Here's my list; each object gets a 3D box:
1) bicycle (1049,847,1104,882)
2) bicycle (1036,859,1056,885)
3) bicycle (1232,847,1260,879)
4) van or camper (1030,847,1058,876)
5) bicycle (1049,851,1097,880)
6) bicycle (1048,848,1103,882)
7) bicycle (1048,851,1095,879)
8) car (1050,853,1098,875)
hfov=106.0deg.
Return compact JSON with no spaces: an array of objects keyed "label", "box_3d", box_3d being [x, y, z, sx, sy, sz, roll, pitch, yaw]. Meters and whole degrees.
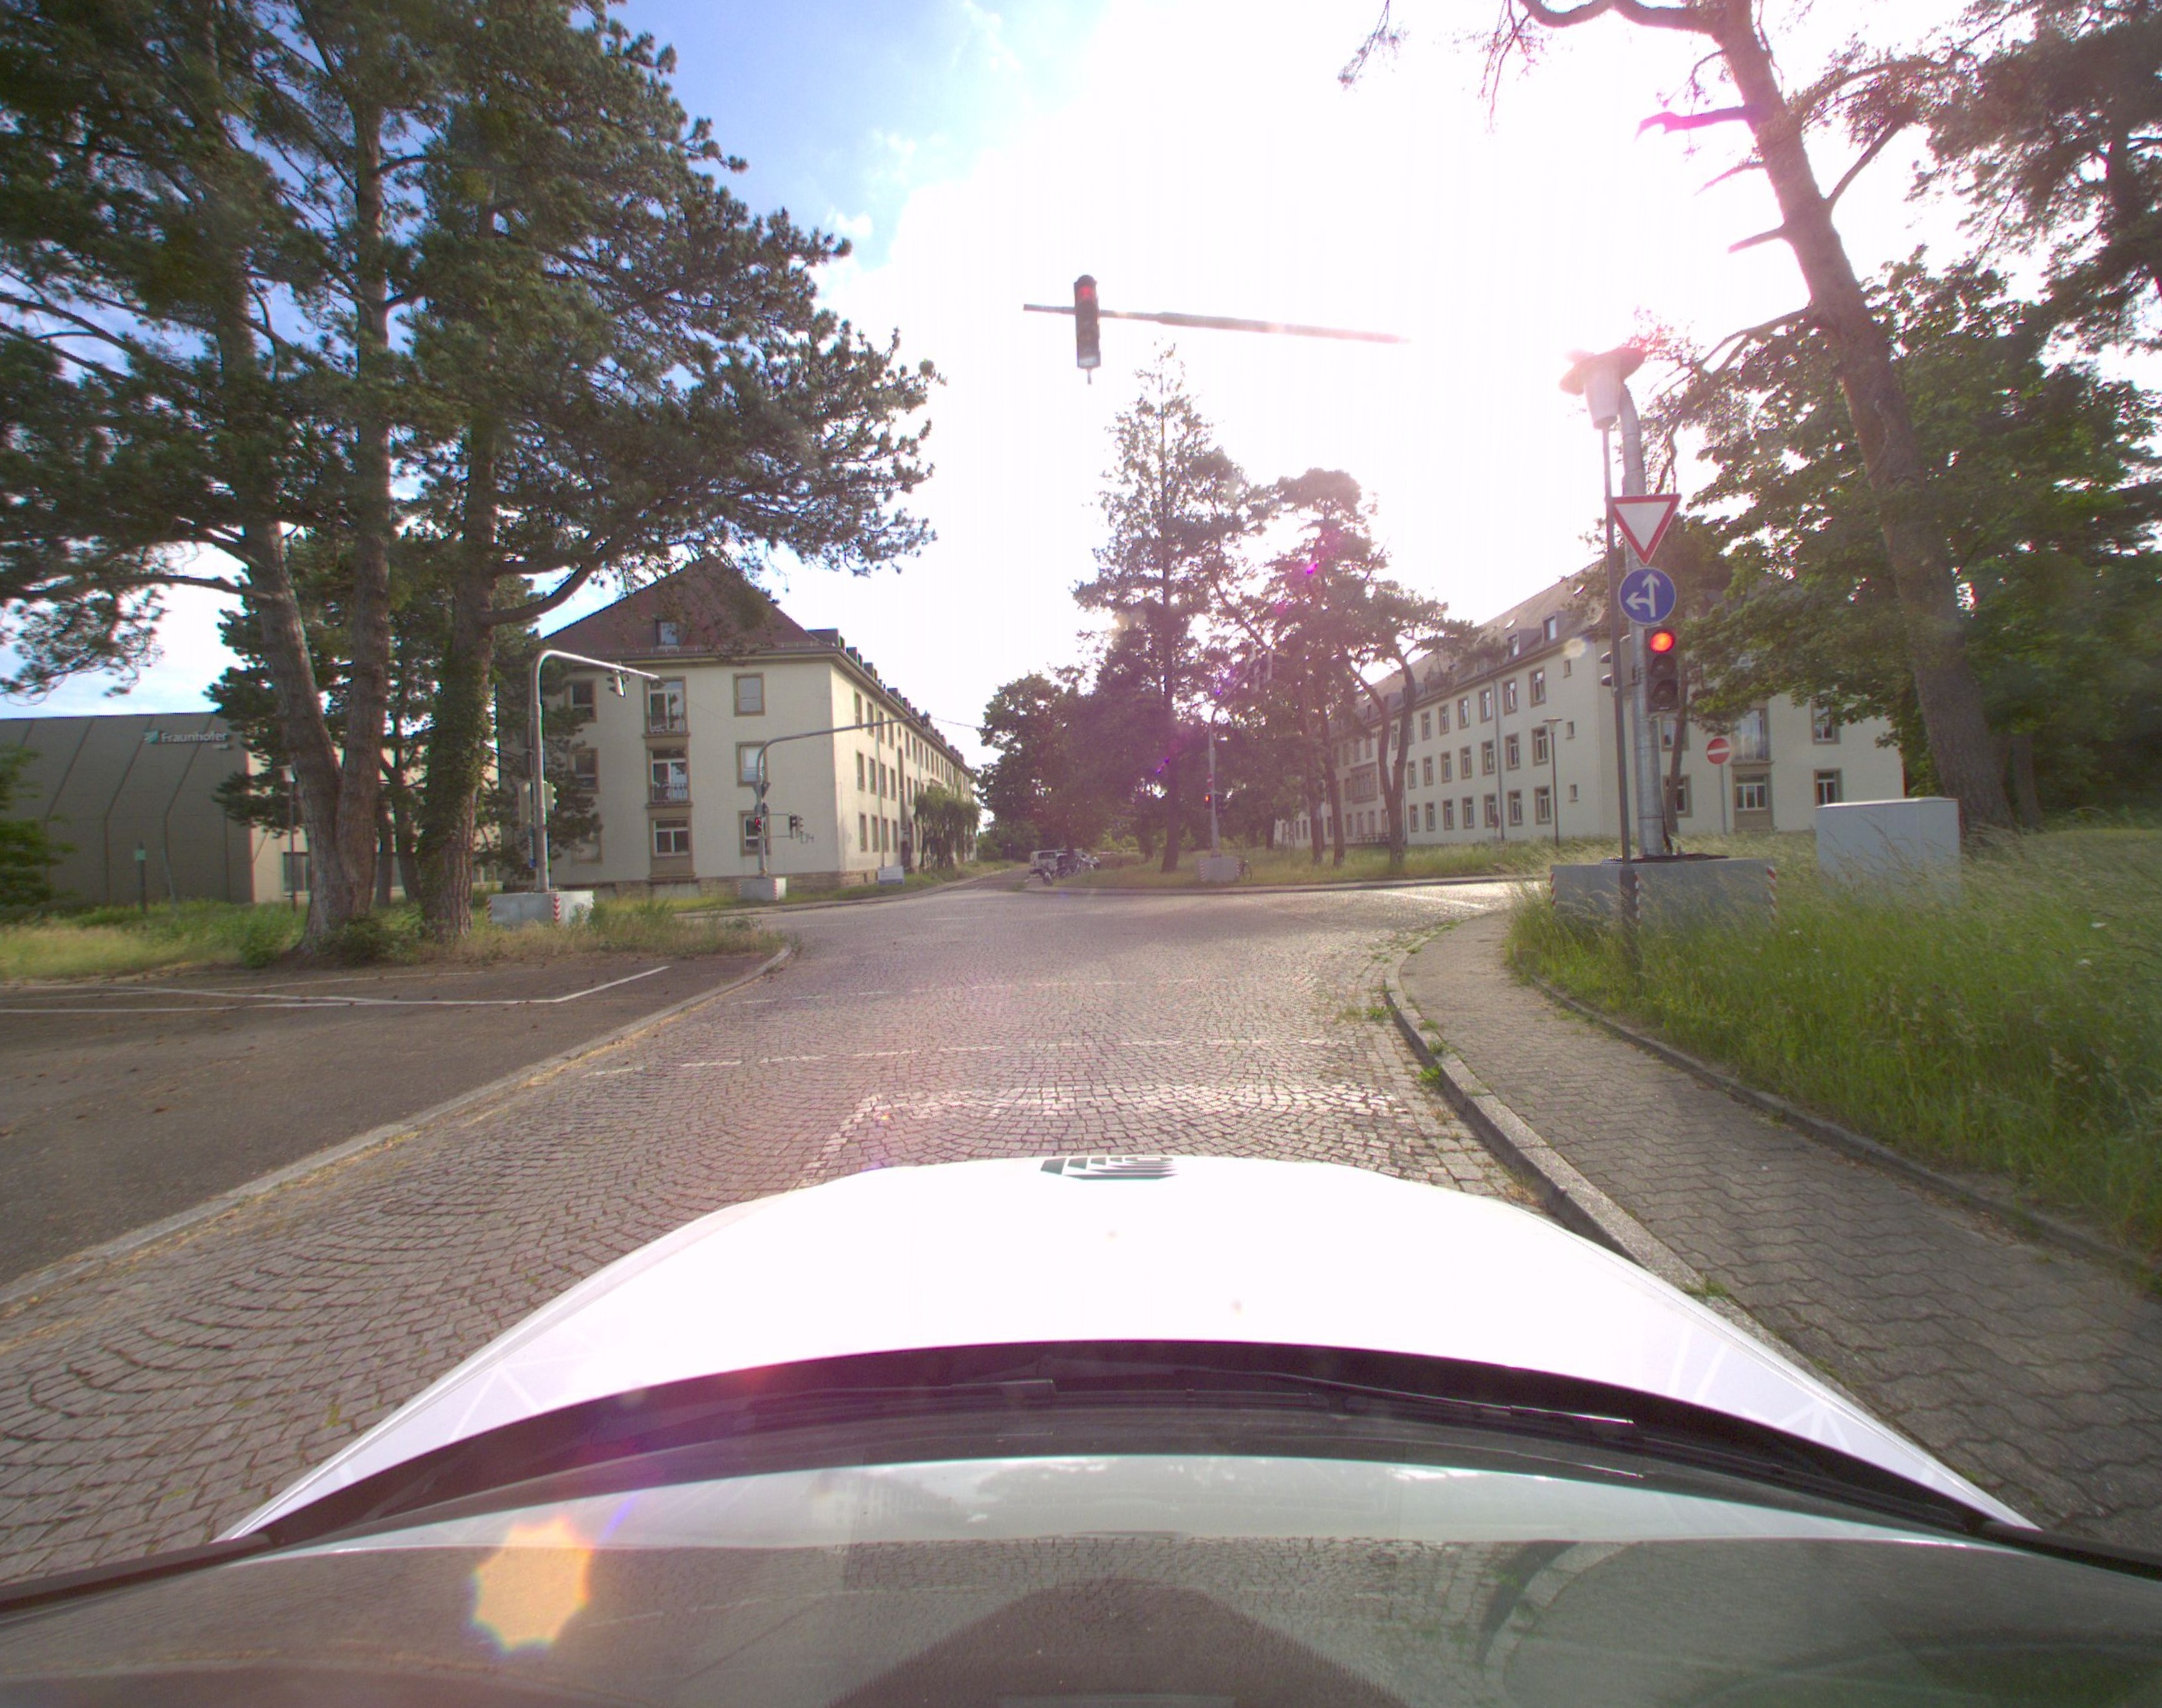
[{"label":"bicycle","box_3d":[-0.253,0.535,43.013,2.773,1.694,1.117,-3,0,-7]},{"label":"bicycle","box_3d":[-1.633,0.849,38.683,0.723,1.107,2.461,-7,0,0]},{"label":"bicycle","box_3d":[6.356,0.348,31.452,0.720,1.169,2.740,-1,0,5]},{"label":"van or camper","box_3d":[-2.795,0.535,61.497,1.989,1.948,6.046,-3,0,-3]},{"label":"bicycle","box_3d":[-0.442,0.668,47.766,2.765,1.694,1.121,0,0,2]},{"label":"bicycle","box_3d":[-0.306,0.564,44.206,2.775,1.694,1.117,-3,0,-9]},{"label":"bicycle","box_3d":[-0.558,0.658,49.100,2.767,1.694,1.120,0,0,-1]},{"label":"car","box_3d":[-0.500,0.683,57.397,3.135,1.354,1.616,-2,0,-8]}]
